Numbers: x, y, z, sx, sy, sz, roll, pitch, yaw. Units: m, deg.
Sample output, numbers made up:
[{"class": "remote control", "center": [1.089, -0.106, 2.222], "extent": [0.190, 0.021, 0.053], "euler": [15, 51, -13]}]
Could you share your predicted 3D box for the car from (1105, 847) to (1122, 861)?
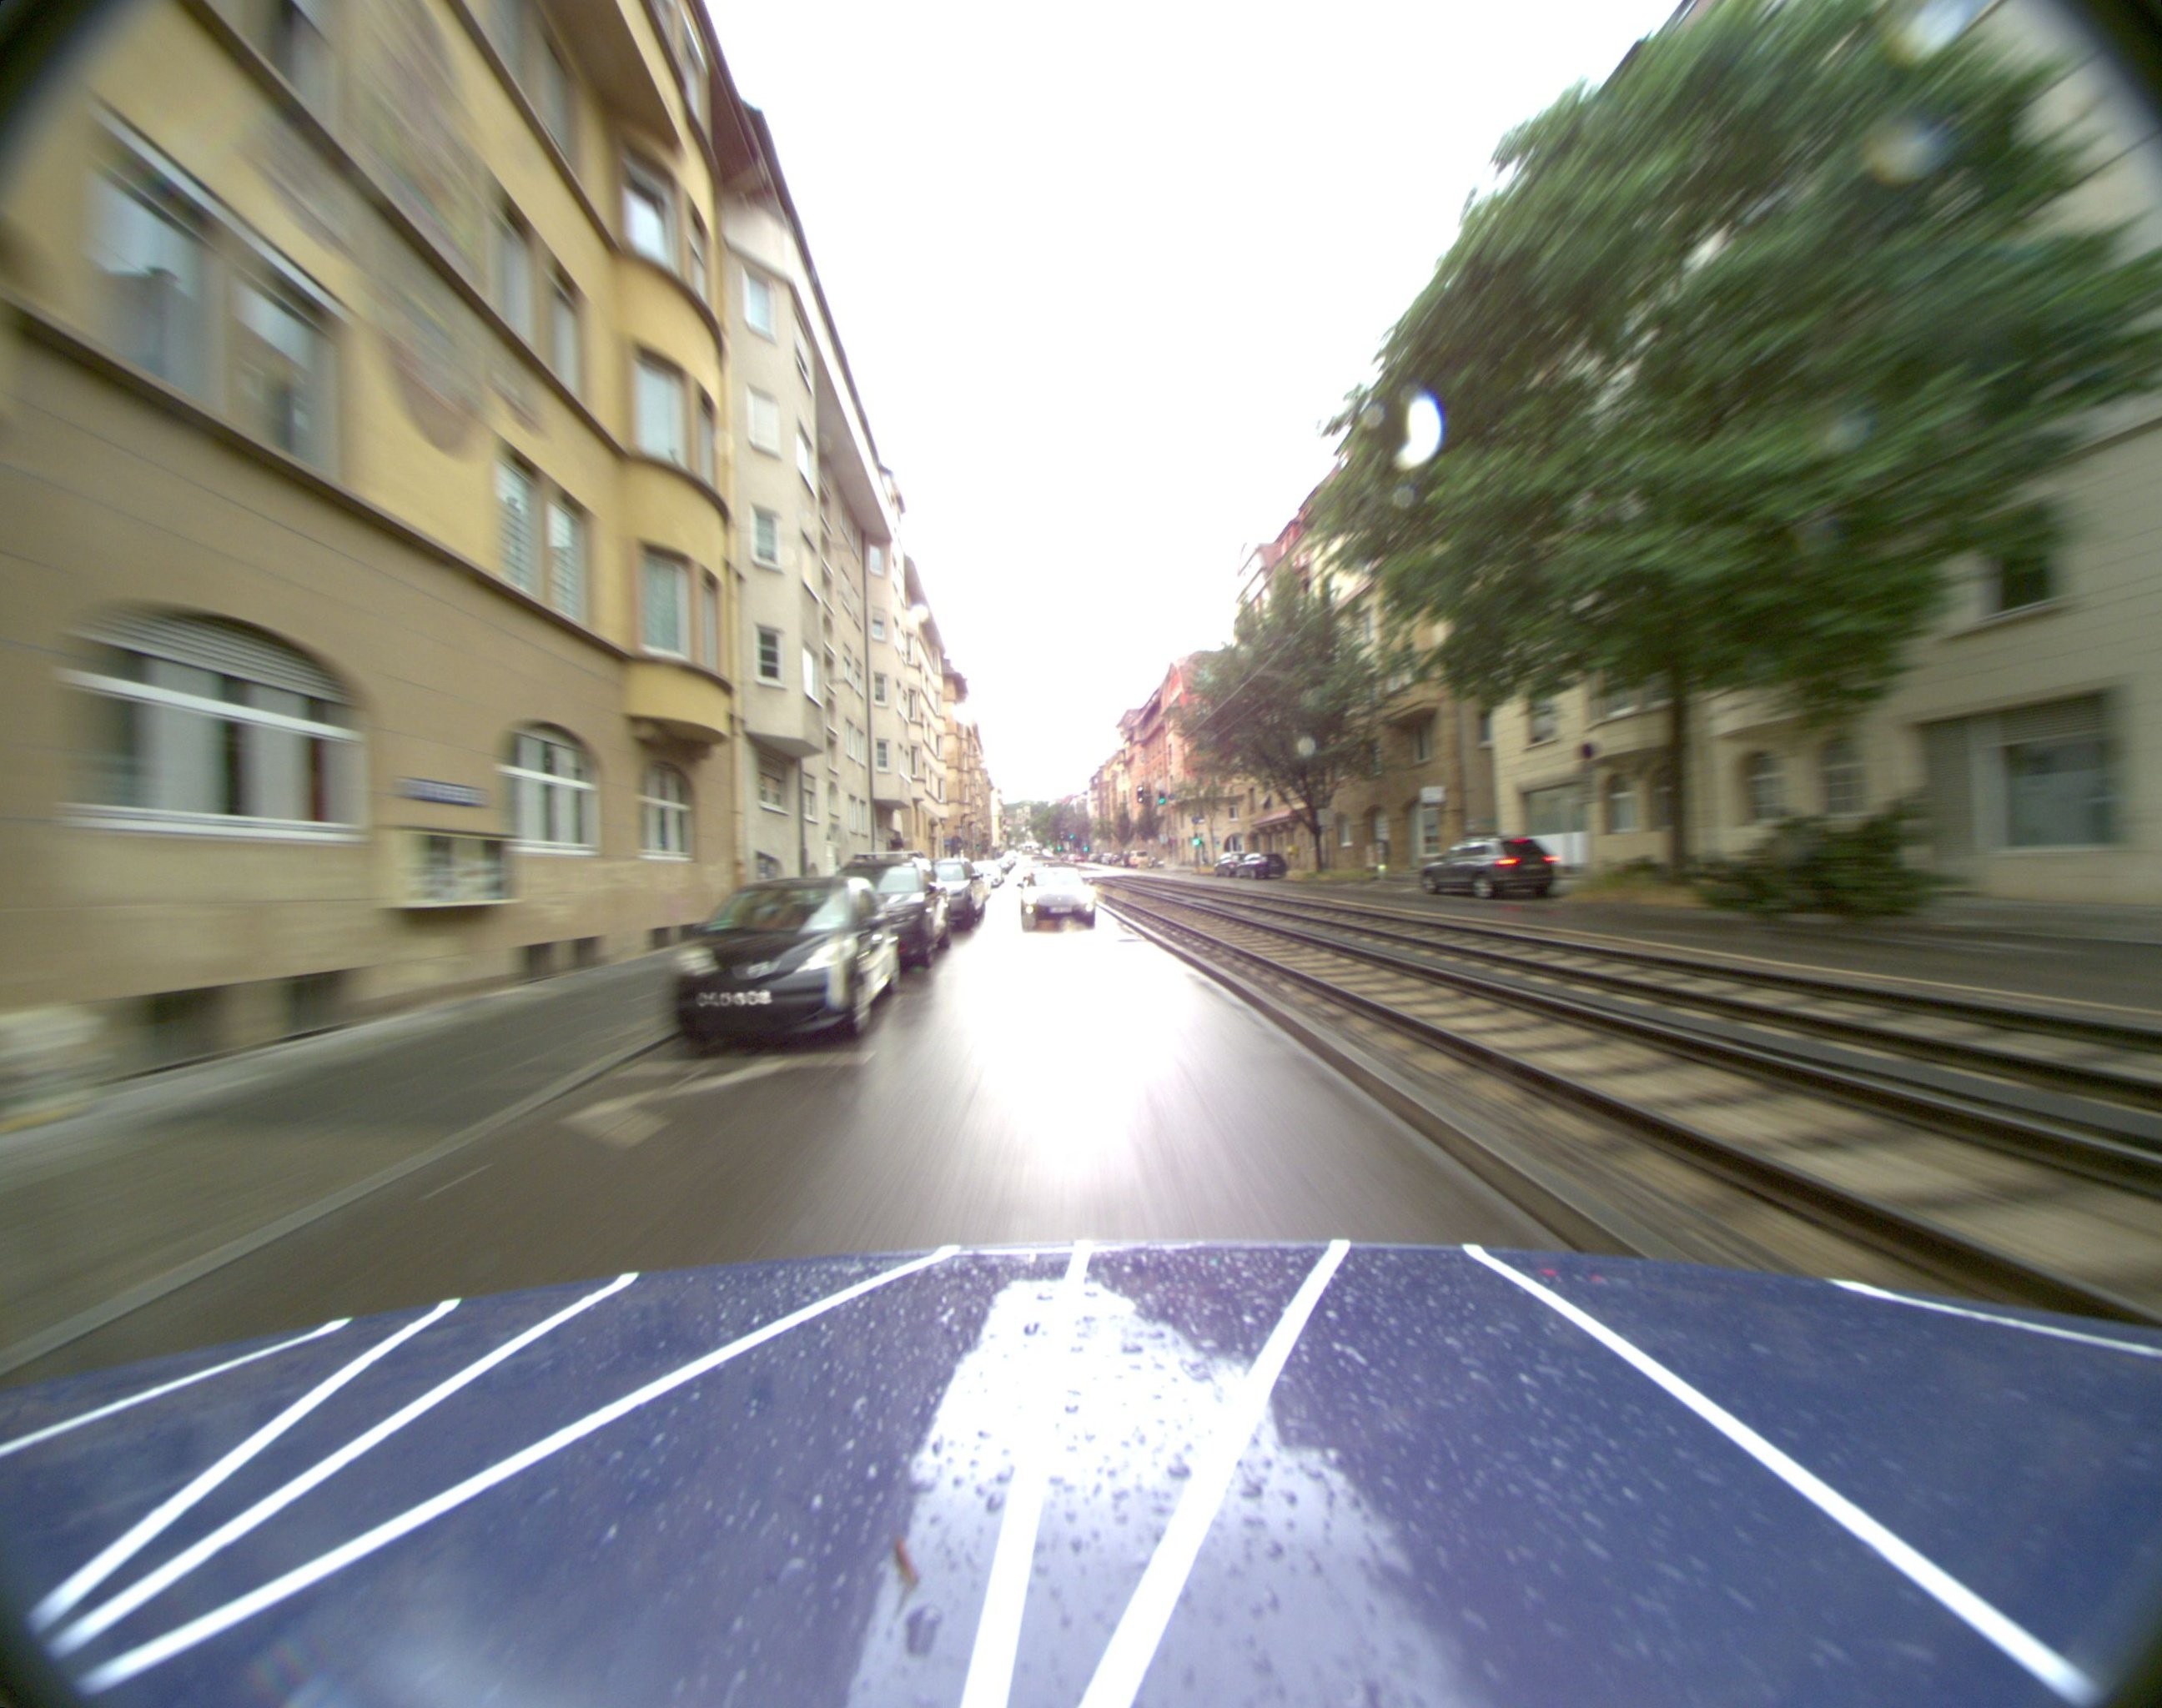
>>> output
[{"class": "car", "center": [4.706, -0.046, 110.864], "extent": [1.999, 1.958, 3.998], "euler": [-2, 0, -4]}]

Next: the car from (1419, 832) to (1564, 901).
[{"class": "car", "center": [11.459, 0.321, 21.565], "extent": [1.649, 1.696, 4.097], "euler": [-2, 0, -4]}]

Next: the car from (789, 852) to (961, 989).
[{"class": "car", "center": [-3.118, 0.894, 12.392], "extent": [1.741, 1.788, 4.264], "euler": [-2, 0, -2]}]

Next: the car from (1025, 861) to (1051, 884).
[{"class": "car", "center": [-2.919, 1.218, 51.039], "extent": [1.690, 1.451, 3.298], "euler": [0, 0, -4]}]

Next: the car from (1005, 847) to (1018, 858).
[{"class": "car", "center": [-12.279, -0.208, 134.933], "extent": [1.999, 1.761, 3.999], "euler": [-3, 0, -2]}]

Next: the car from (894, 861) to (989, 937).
[{"class": "car", "center": [-3.243, 0.993, 18.346], "extent": [1.649, 1.536, 4.026], "euler": [-2, 0, -2]}]

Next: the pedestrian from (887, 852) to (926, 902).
[{"class": "pedestrian", "center": [-6.262, 0.803, 27.294], "extent": [1.126, 1.703, 1.101], "euler": [-2, 1, -4]}]

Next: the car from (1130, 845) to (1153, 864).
[{"class": "car", "center": [6.854, 0.058, 86.771], "extent": [1.999, 1.958, 3.998], "euler": [-2, 0, -4]}]

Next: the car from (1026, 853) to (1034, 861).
[{"class": "car", "center": [-12.646, 0.683, 187.710], "extent": [1.999, 1.958, 3.998], "euler": [-2, 0, -4]}]

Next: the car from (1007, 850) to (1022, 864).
[{"class": "car", "center": [-9.934, 0.473, 113.733], "extent": [1.999, 1.958, 3.998], "euler": [-2, 0, -4]}]

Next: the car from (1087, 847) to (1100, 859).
[{"class": "car", "center": [2.349, -0.184, 140.354], "extent": [1.999, 1.958, 3.998], "euler": [-2, 0, -4]}]

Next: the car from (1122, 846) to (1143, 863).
[{"class": "car", "center": [6.349, 0.024, 93.741], "extent": [1.999, 1.958, 3.998], "euler": [-2, 0, -4]}]

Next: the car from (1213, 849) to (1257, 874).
[{"class": "car", "center": [9.715, 0.436, 48.238], "extent": [1.649, 1.481, 4.164], "euler": [-2, 0, -4]}]

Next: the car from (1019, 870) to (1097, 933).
[{"class": "car", "center": [-0.600, 1.108, 19.141], "extent": [1.705, 1.280, 4.194], "euler": [-2, 0, -2]}]

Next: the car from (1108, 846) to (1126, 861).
[{"class": "car", "center": [5.031, -0.023, 106.218], "extent": [1.999, 1.958, 3.998], "euler": [-2, 0, -4]}]

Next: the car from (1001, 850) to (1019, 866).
[{"class": "car", "center": [-9.165, 0.562, 98.359], "extent": [1.999, 1.958, 3.998], "euler": [-2, 0, -4]}]

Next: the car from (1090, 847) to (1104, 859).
[{"class": "car", "center": [2.784, -0.152, 134.093], "extent": [1.999, 1.958, 3.998], "euler": [-2, 0, -4]}]

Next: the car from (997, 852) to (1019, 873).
[{"class": "car", "center": [-7.335, 0.819, 76.689], "extent": [1.999, 1.958, 3.998], "euler": [-2, 0, -4]}]

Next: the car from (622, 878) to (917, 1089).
[{"class": "car", "center": [-2.838, 1.064, 7.903], "extent": [1.634, 1.443, 3.998], "euler": [-2, 0, -4]}]

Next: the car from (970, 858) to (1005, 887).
[{"class": "car", "center": [-5.332, 1.031, 43.907], "extent": [1.649, 1.469, 4.026], "euler": [-2, 0, -2]}]

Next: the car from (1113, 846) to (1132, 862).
[{"class": "car", "center": [5.467, 0.003, 100.665], "extent": [1.999, 1.958, 3.998], "euler": [-2, 0, -4]}]

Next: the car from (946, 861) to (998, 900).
[{"class": "car", "center": [-4.425, 1.032, 31.364], "extent": [1.649, 1.424, 4.026], "euler": [-2, 0, -2]}]

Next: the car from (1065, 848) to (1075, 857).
[{"class": "car", "center": [-2.700, -0.346, 185.974], "extent": [1.999, 1.958, 3.998], "euler": [-2, 0, -4]}]

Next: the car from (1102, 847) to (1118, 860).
[{"class": "car", "center": [4.401, -0.078, 116.517], "extent": [1.999, 1.958, 3.998], "euler": [-2, 0, -4]}]
